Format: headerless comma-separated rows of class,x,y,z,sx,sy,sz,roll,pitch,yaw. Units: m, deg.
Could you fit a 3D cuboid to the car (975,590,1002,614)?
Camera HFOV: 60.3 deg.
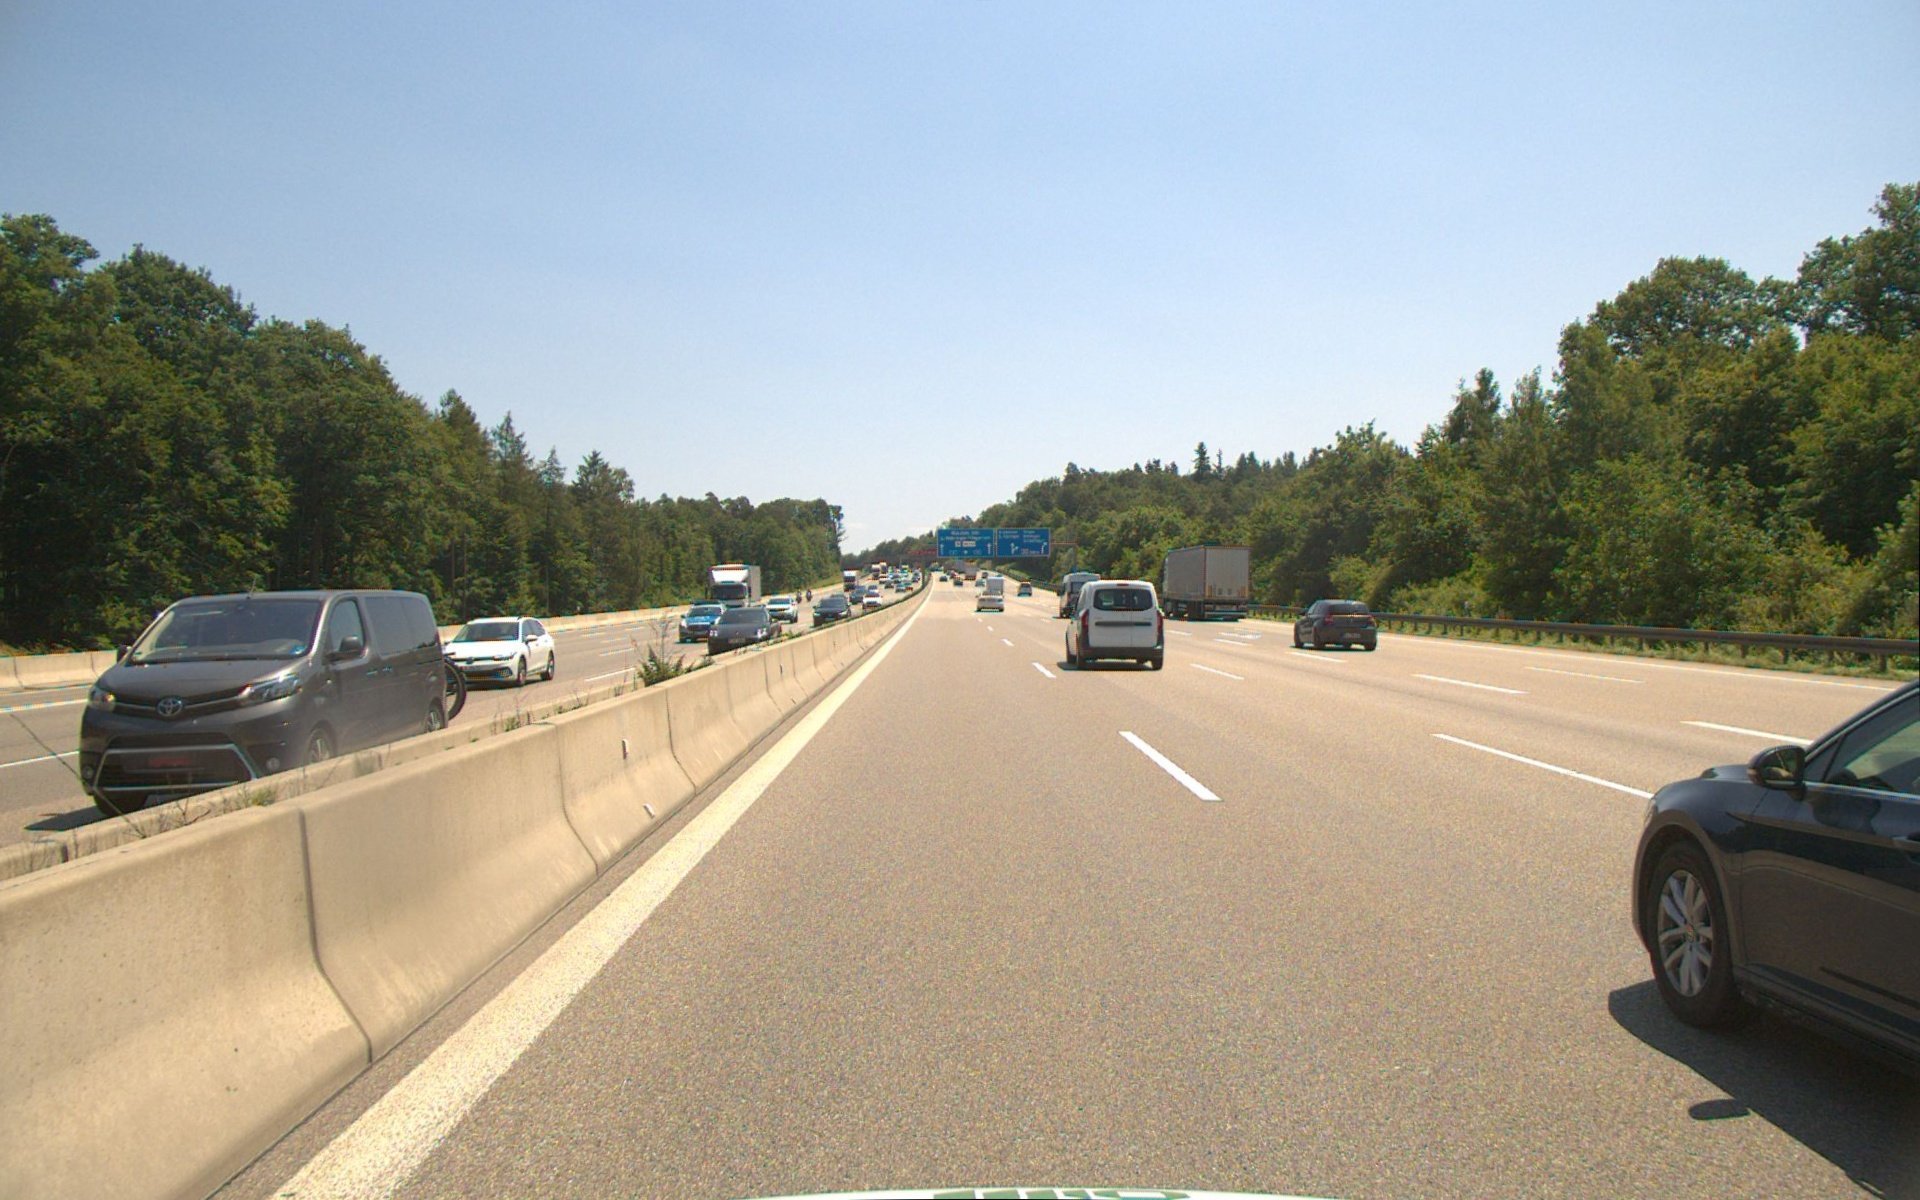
car,1.994,0.137,116.427,1.805,1.657,4.553,-2,0,0

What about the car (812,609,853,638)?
car,-6.702,1.223,87.244,1.874,1.490,4.362,-1,0,-1

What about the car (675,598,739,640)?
car,-10.328,0.732,67.860,1.874,1.538,5.231,-2,0,-1

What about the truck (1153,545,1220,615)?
truck,13.935,-1.283,102.312,3.188,4.178,5.987,1,1,-1

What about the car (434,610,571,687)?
car,-9.983,1.017,36.459,1.725,1.489,4.839,-1,0,-1

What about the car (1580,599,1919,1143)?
car,3.480,0.751,4.545,1.694,1.472,4.961,0,0,0

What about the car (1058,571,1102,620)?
car,6.897,-0.303,95.702,2.100,2.698,5.709,0,1,-1

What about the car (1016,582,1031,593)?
car,8.546,-1.627,222.016,1.798,1.361,3.642,-2,0,-1

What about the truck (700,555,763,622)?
truck,-14.635,-0.725,106.522,2.800,4.083,9.466,-1,0,-1

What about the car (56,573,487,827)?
car,-6.364,0.795,16.175,1.859,1.987,5.656,-2,0,-1

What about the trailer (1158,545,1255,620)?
trailer,14.043,-1.079,95.661,3.221,3.999,13.888,1,1,-1

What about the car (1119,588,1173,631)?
car,6.938,0.326,61.873,1.473,1.526,3.649,-2,0,-1

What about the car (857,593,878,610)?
car,-8.223,0.134,147.435,1.788,1.419,4.463,-2,0,-2

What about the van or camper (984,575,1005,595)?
van or camper,4.690,-2.021,226.647,2.591,2.583,6.501,-1,0,-1

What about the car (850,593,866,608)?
car,-10.902,0.021,176.320,1.540,1.538,4.029,-2,0,-2

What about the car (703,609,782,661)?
car,-6.726,1.061,51.580,1.874,1.490,4.586,-1,0,-1

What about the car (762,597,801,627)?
car,-10.684,0.701,99.379,1.874,1.690,4.688,-2,0,-1

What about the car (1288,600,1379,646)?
car,10.776,0.655,47.972,1.636,1.296,4.289,0,0,-1

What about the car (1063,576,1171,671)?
car,3.287,0.455,35.457,1.822,1.857,4.612,-2,0,0

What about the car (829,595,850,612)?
car,-10.875,0.303,149.063,1.668,1.452,4.612,-2,0,-2
